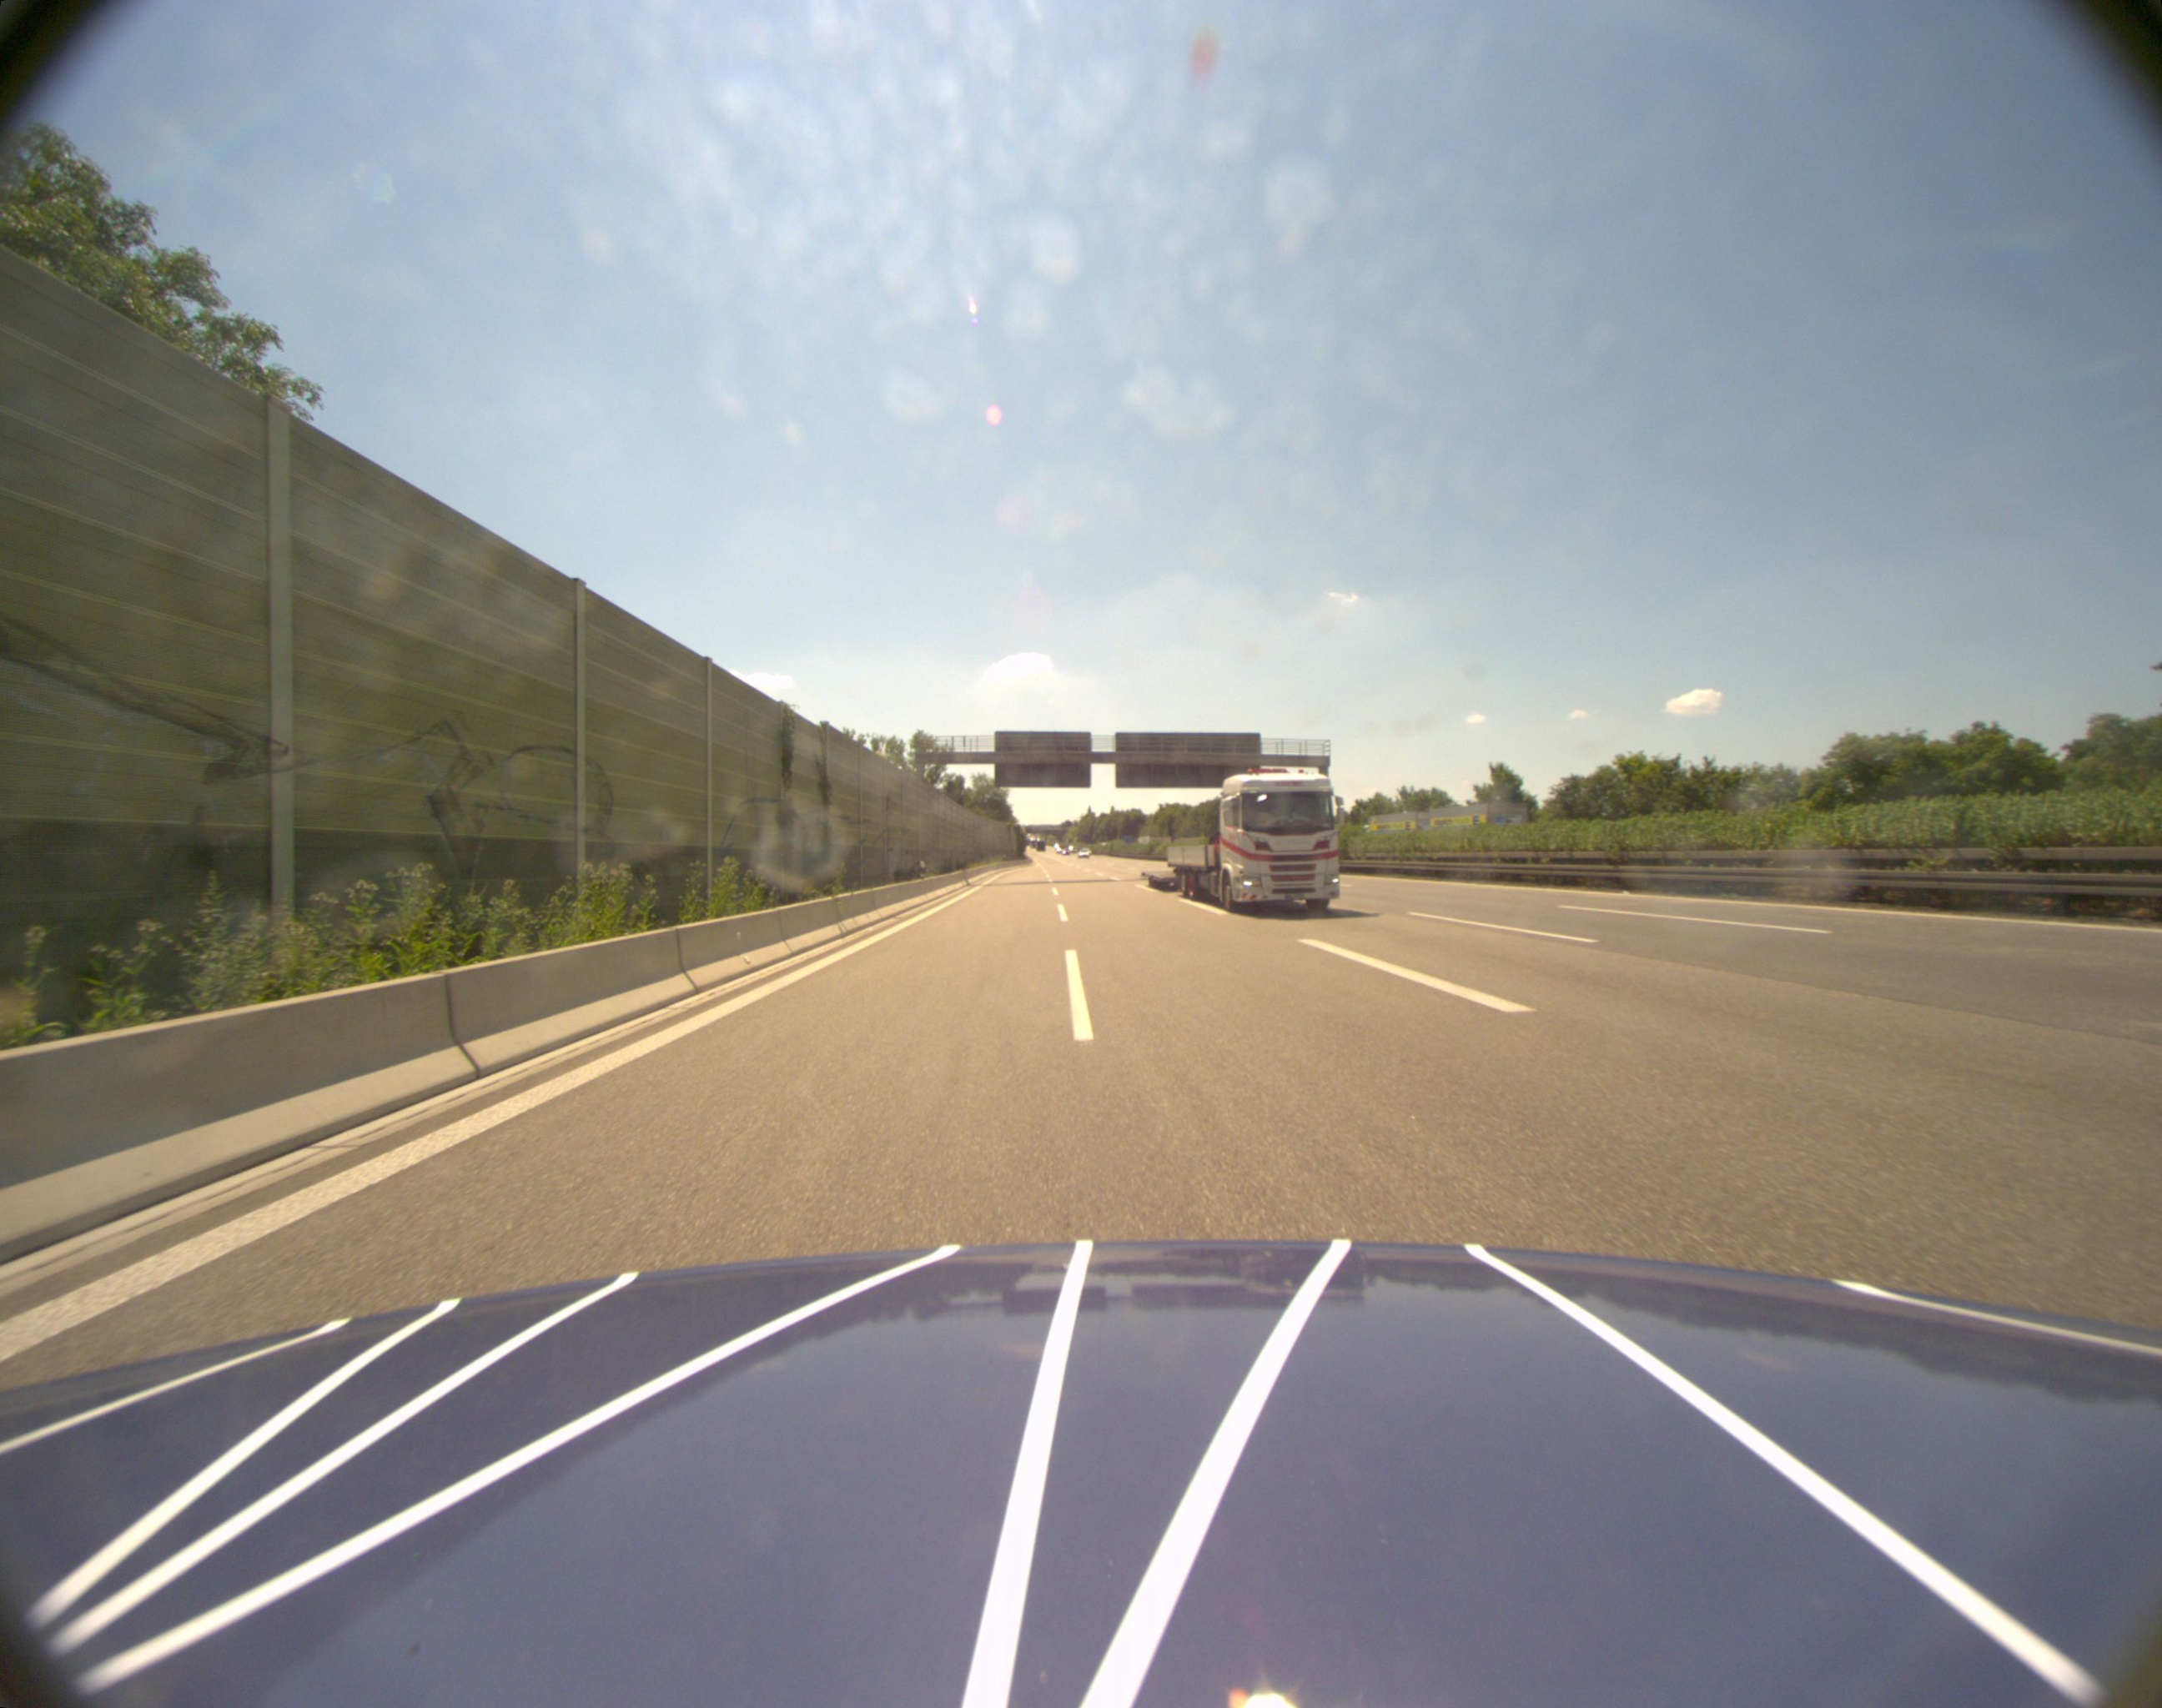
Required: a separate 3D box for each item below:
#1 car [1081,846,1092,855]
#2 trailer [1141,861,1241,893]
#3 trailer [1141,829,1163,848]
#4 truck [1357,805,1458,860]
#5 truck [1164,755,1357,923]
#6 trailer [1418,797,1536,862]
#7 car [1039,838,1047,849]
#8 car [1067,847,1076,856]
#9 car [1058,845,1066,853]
[{"bbox_3d":[0.940,-0.648,137.595,1.787,1.494,4.169,-1,1,-3],"label":"car"},{"bbox_3d":[4.399,0.894,32.110,2.722,0.929,7.756,-2,1,-3],"label":"trailer"},{"bbox_3d":[16.143,-3.512,173.423,2.612,4.110,14.221,-2,1,-4],"label":"trailer"},{"bbox_3d":[25.701,-1.607,60.535,3.010,3.944,10.317,-2,1,-3],"label":"truck"},{"bbox_3d":[4.752,-0.415,22.906,2.722,3.780,10.667,-2,1,-3],"label":"truck"},{"bbox_3d":[26.283,-1.536,51.005,2.931,3.944,8.655,-2,1,-3],"label":"trailer"},{"bbox_3d":[-11.901,-3.399,239.624,2.116,3.283,6.441,-2,0,-6],"label":"car"},{"bbox_3d":[-2.264,-0.604,178.124,1.998,1.832,4.000,-2,0,0],"label":"car"},{"bbox_3d":[-5.117,-1.314,201.910,1.998,1.832,4.000,-2,0,0],"label":"car"}]
